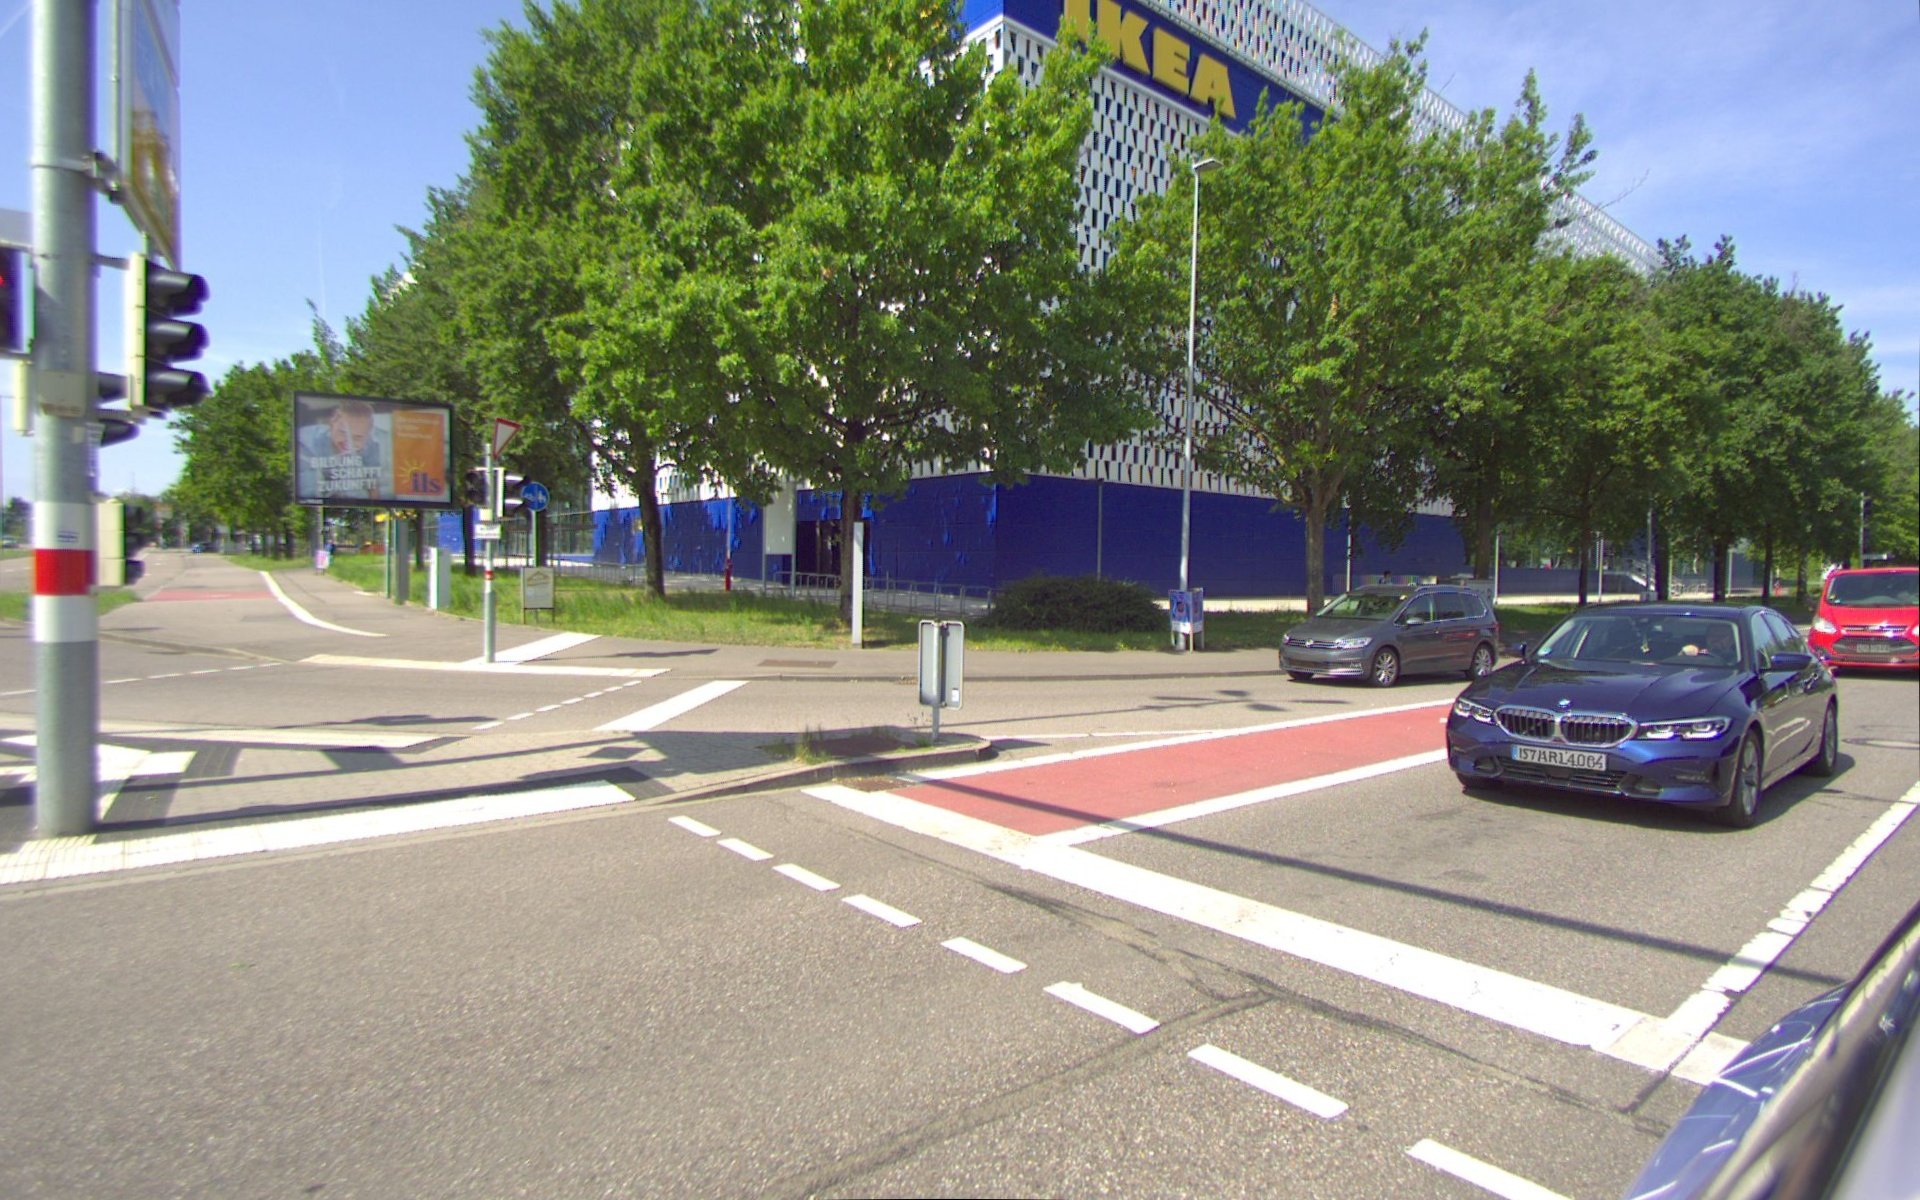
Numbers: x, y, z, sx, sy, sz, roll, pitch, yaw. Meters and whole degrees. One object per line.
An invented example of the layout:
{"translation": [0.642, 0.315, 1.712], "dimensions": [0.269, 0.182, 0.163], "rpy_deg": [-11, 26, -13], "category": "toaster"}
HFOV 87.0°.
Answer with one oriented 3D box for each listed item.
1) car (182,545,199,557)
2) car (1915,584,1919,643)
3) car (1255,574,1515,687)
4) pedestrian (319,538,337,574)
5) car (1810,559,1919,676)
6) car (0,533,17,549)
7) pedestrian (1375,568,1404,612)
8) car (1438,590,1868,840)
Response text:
{"translation": [-97.096, -6.183, 127.727], "dimensions": [1.610, 1.554, 3.916], "rpy_deg": [-1, 2, -37], "category": "car"}
{"translation": [25.524, 0.316, 25.591], "dimensions": [3.848, 1.440, 1.691], "rpy_deg": [-1, 1, -42], "category": "car"}
{"translation": [7.302, 0.410, 17.279], "dimensions": [4.305, 1.675, 2.002], "rpy_deg": [-1, 2, -33], "category": "car"}
{"translation": [-36.890, -2.562, 59.057], "dimensions": [0.597, 2.039, 0.673], "rpy_deg": [-2, 0, 36], "category": "pedestrian"}
{"translation": [17.285, 0.252, 18.478], "dimensions": [4.726, 1.931, 2.012], "rpy_deg": [-1, 0, -41], "category": "car"}
{"translation": [-113.432, -7.021, 120.136], "dimensions": [1.850, 1.704, 3.999], "rpy_deg": [-1, 4, -38], "category": "car"}
{"translation": [15.657, -0.376, 36.900], "dimensions": [0.767, 1.565, 0.680], "rpy_deg": [-1, 2, -40], "category": "pedestrian"}
{"translation": [5.706, 0.654, 8.088], "dimensions": [4.459, 1.447, 1.798], "rpy_deg": [-1, 1, -41], "category": "car"}
